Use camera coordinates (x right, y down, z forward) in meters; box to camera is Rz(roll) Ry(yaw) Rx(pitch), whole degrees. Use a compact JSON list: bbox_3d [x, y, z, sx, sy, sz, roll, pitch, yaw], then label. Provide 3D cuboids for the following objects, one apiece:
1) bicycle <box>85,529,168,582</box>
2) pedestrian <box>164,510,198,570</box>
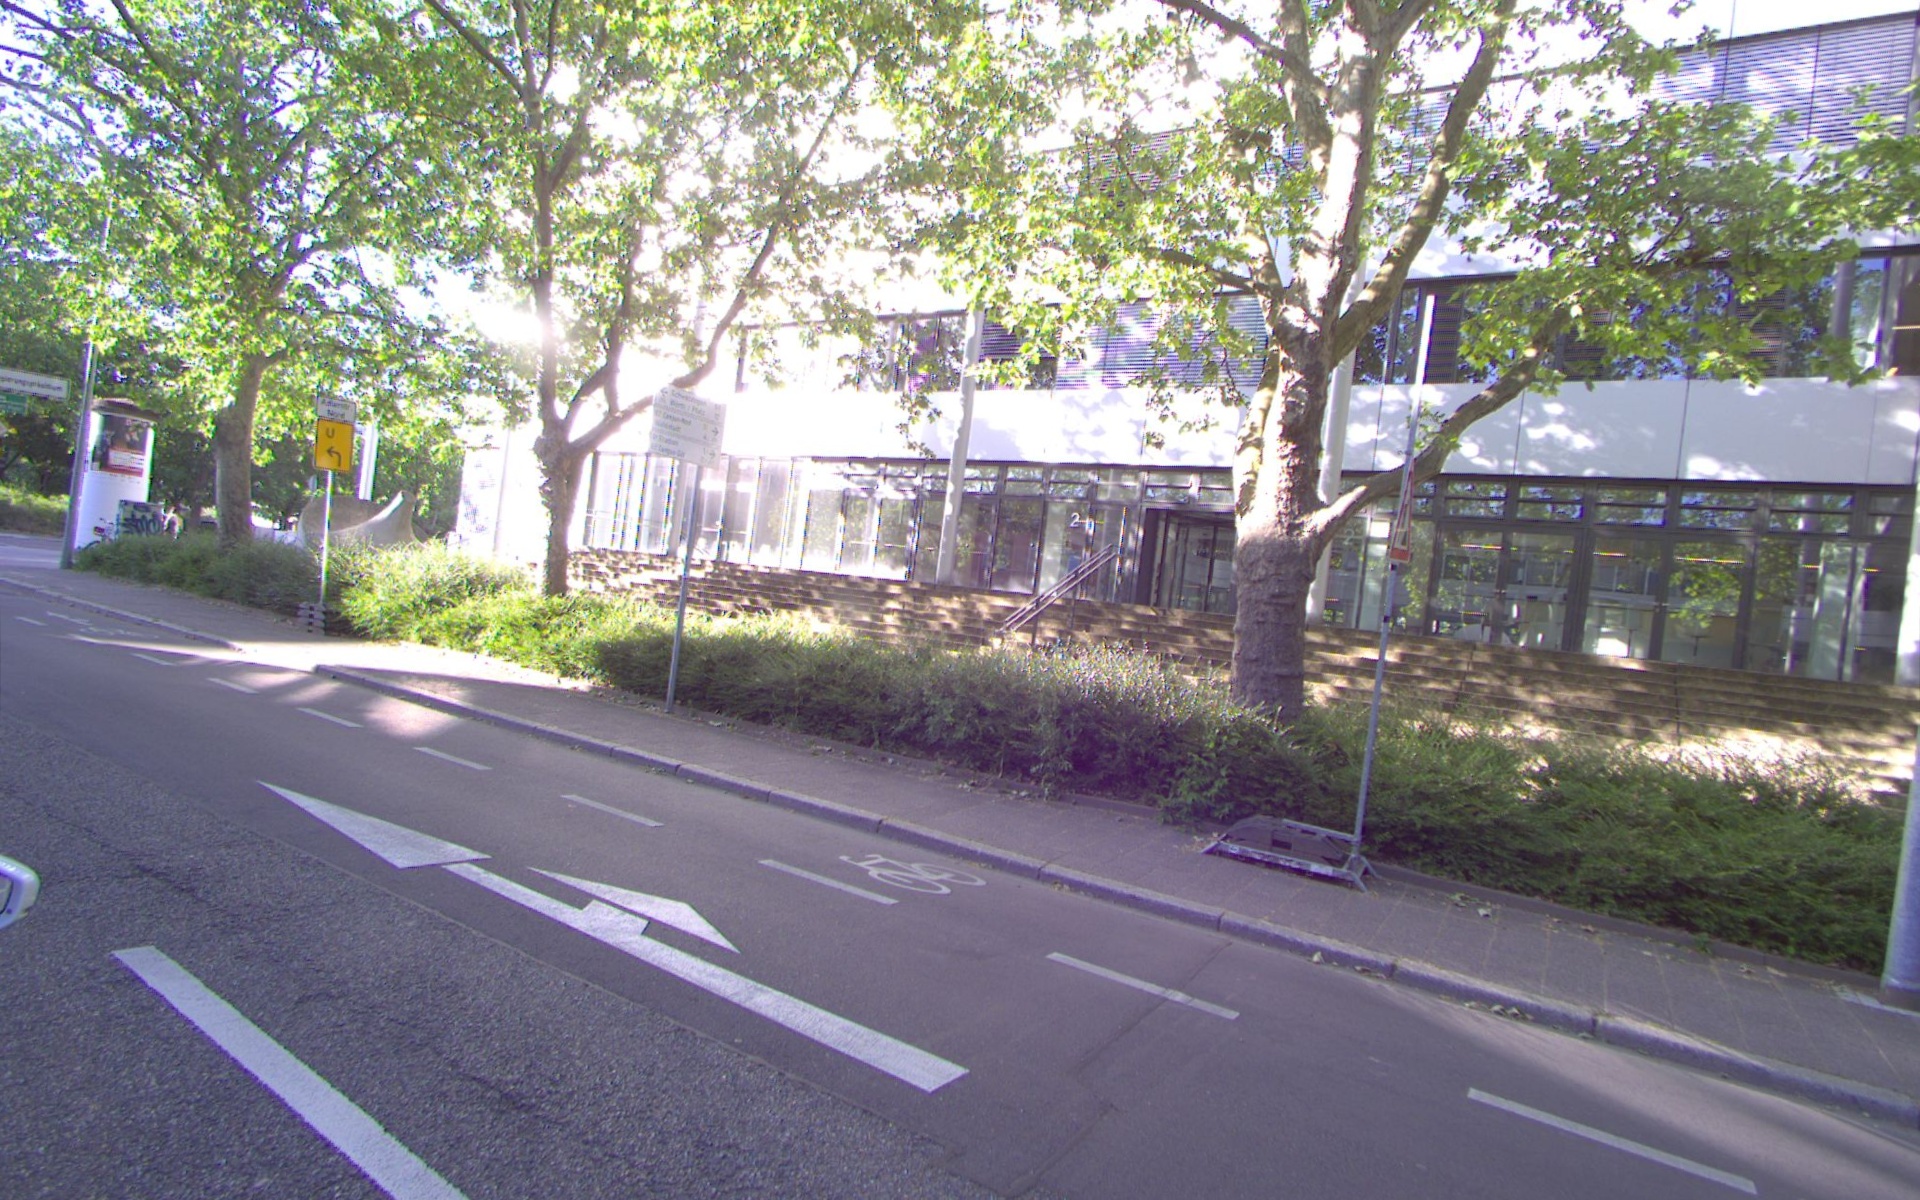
[{"bbox_3d":[-19.220,-1.011,23.225,0.357,1.036,1.354,7,-1,33],"label":"bicycle"},{"bbox_3d":[-25.737,-1.984,33.236,0.584,1.871,0.552,7,0,33],"label":"pedestrian"}]
